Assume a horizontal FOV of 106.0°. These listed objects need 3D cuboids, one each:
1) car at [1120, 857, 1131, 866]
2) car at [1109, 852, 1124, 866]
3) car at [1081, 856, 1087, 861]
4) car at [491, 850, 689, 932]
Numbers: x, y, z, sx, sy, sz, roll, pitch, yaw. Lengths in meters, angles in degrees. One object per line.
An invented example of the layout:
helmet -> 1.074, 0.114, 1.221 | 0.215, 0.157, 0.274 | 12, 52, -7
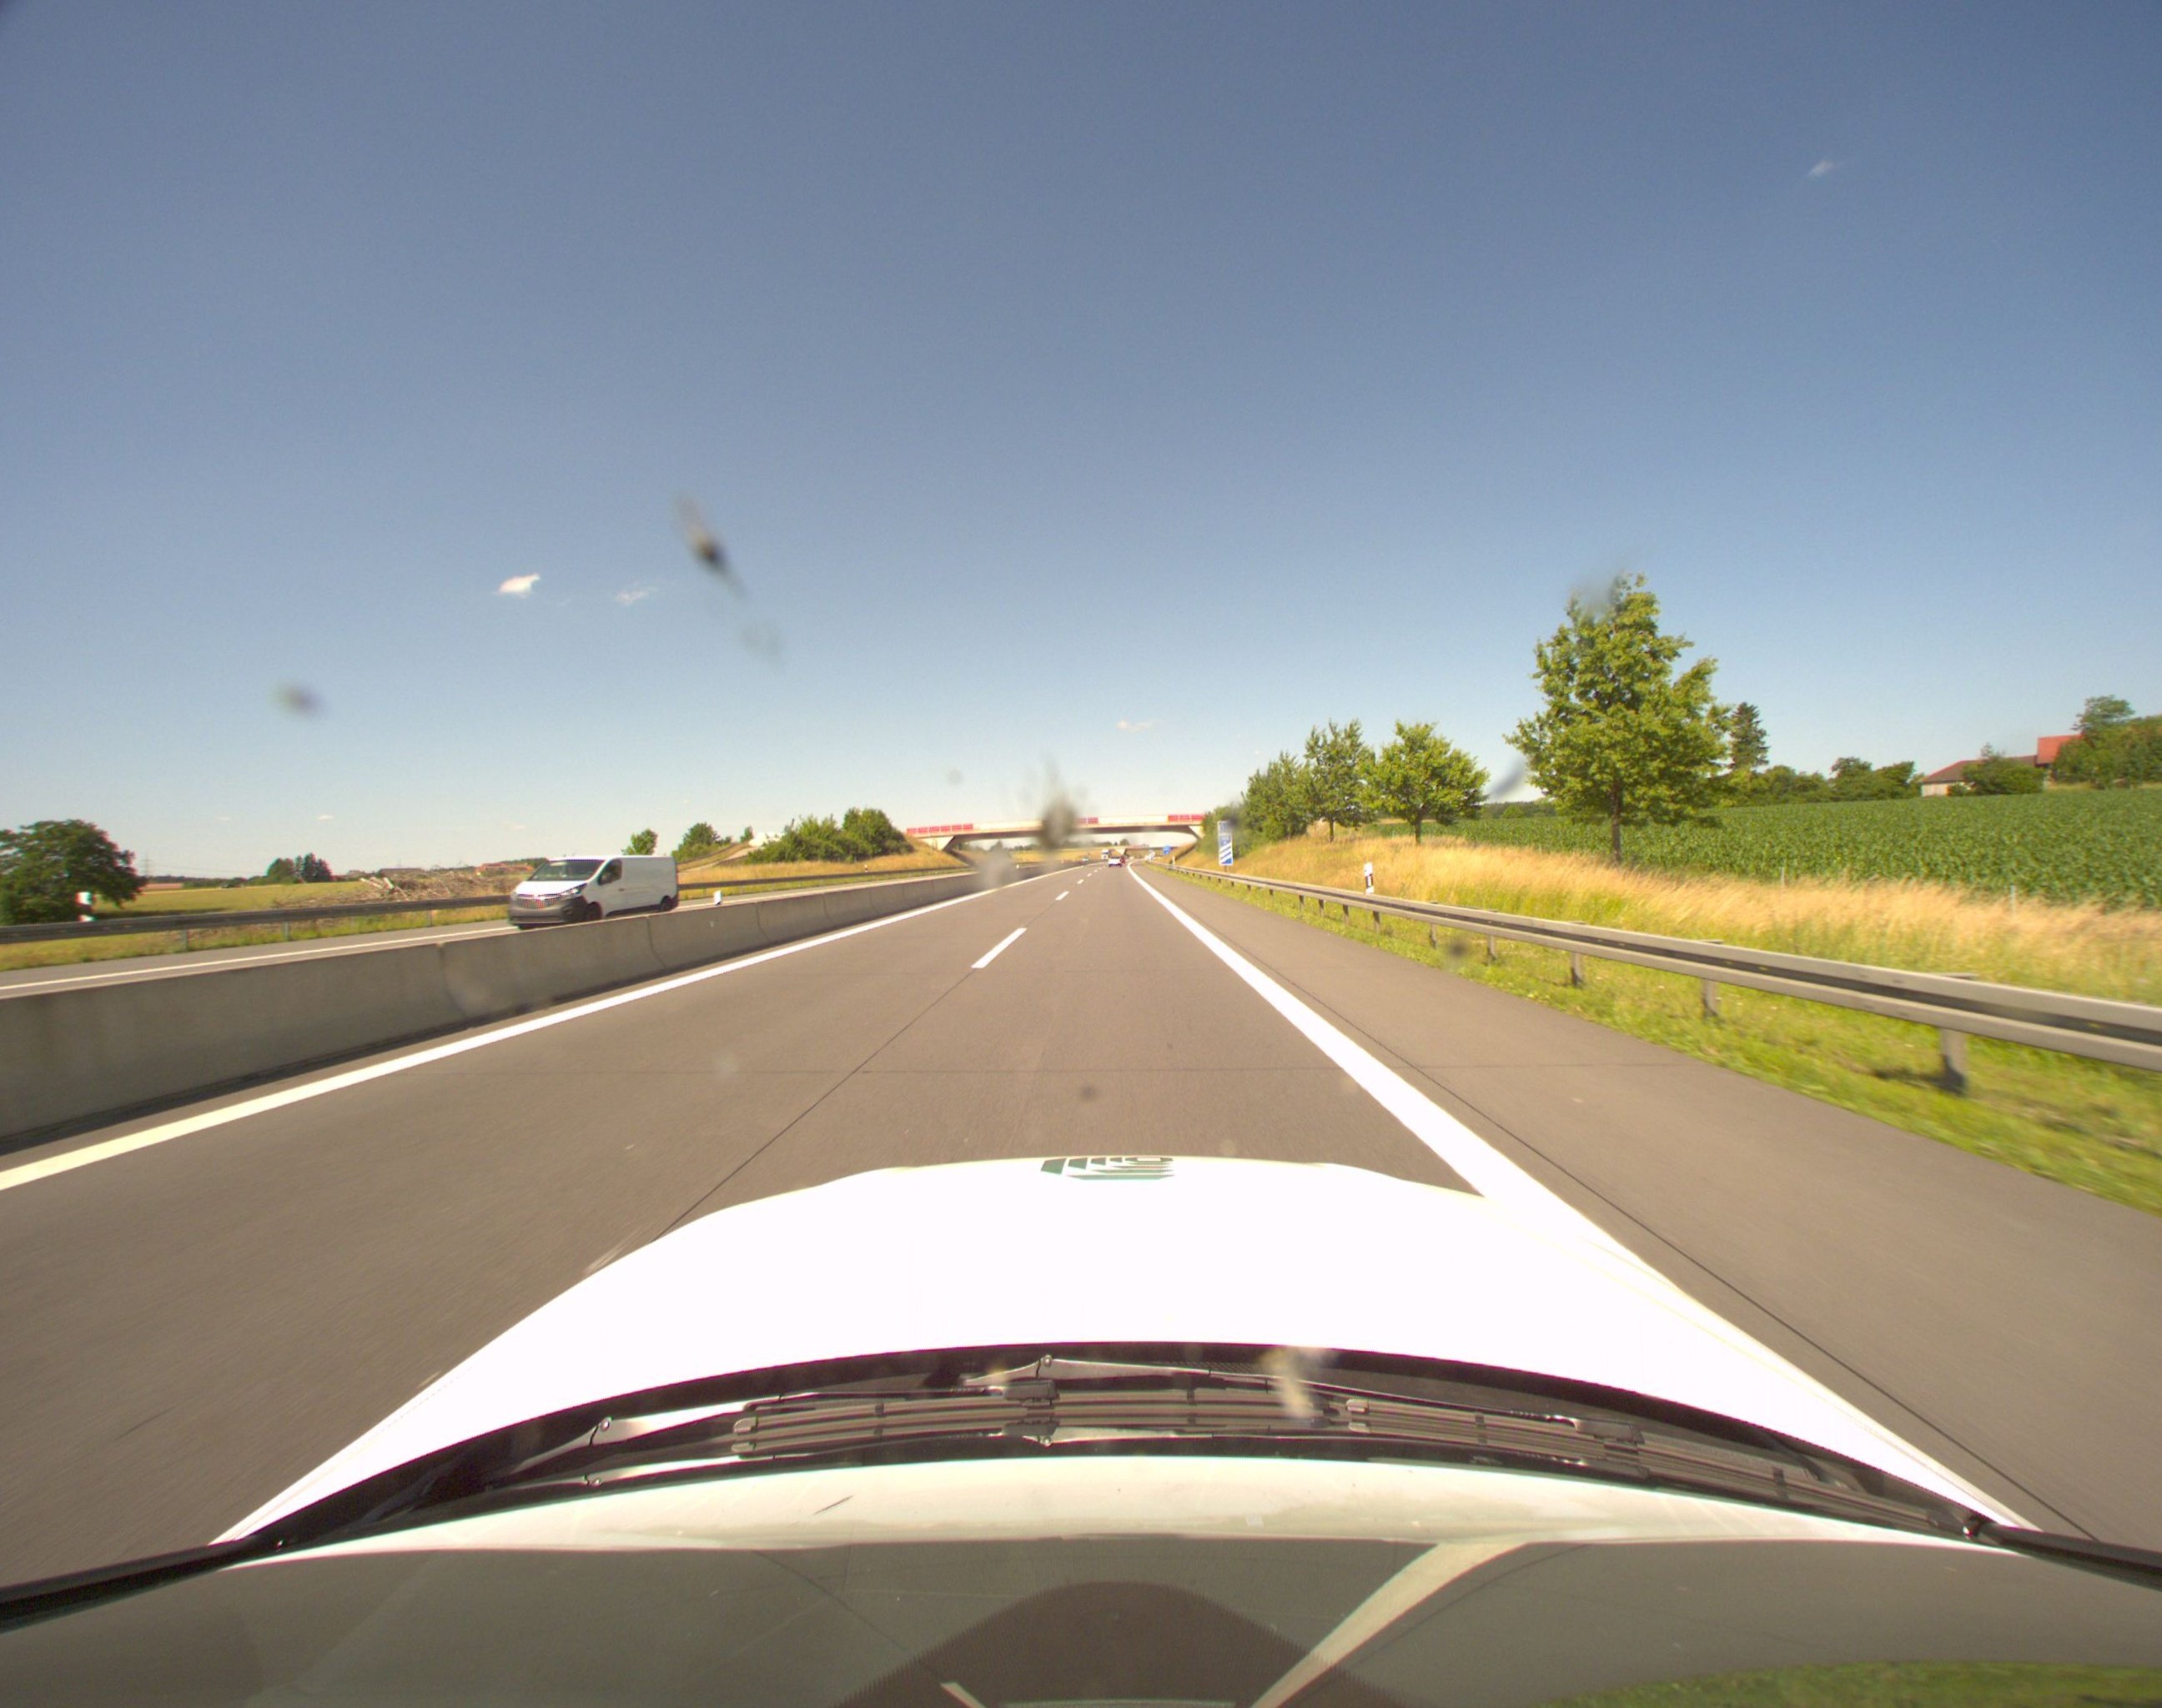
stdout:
car -> 9.077, 1.438, 166.955 | 1.984, 1.731, 4.875 | -3, 0, 5
car -> 4.923, 0.708, 114.675 | 1.986, 1.731, 4.871 | -3, 0, 2
car -> 0.959, 1.450, 249.646 | 1.652, 1.453, 4.005 | -2, 0, 5
car -> -13.481, 0.947, 22.926 | 1.986, 2.014, 5.716 | 0, -1, 1
